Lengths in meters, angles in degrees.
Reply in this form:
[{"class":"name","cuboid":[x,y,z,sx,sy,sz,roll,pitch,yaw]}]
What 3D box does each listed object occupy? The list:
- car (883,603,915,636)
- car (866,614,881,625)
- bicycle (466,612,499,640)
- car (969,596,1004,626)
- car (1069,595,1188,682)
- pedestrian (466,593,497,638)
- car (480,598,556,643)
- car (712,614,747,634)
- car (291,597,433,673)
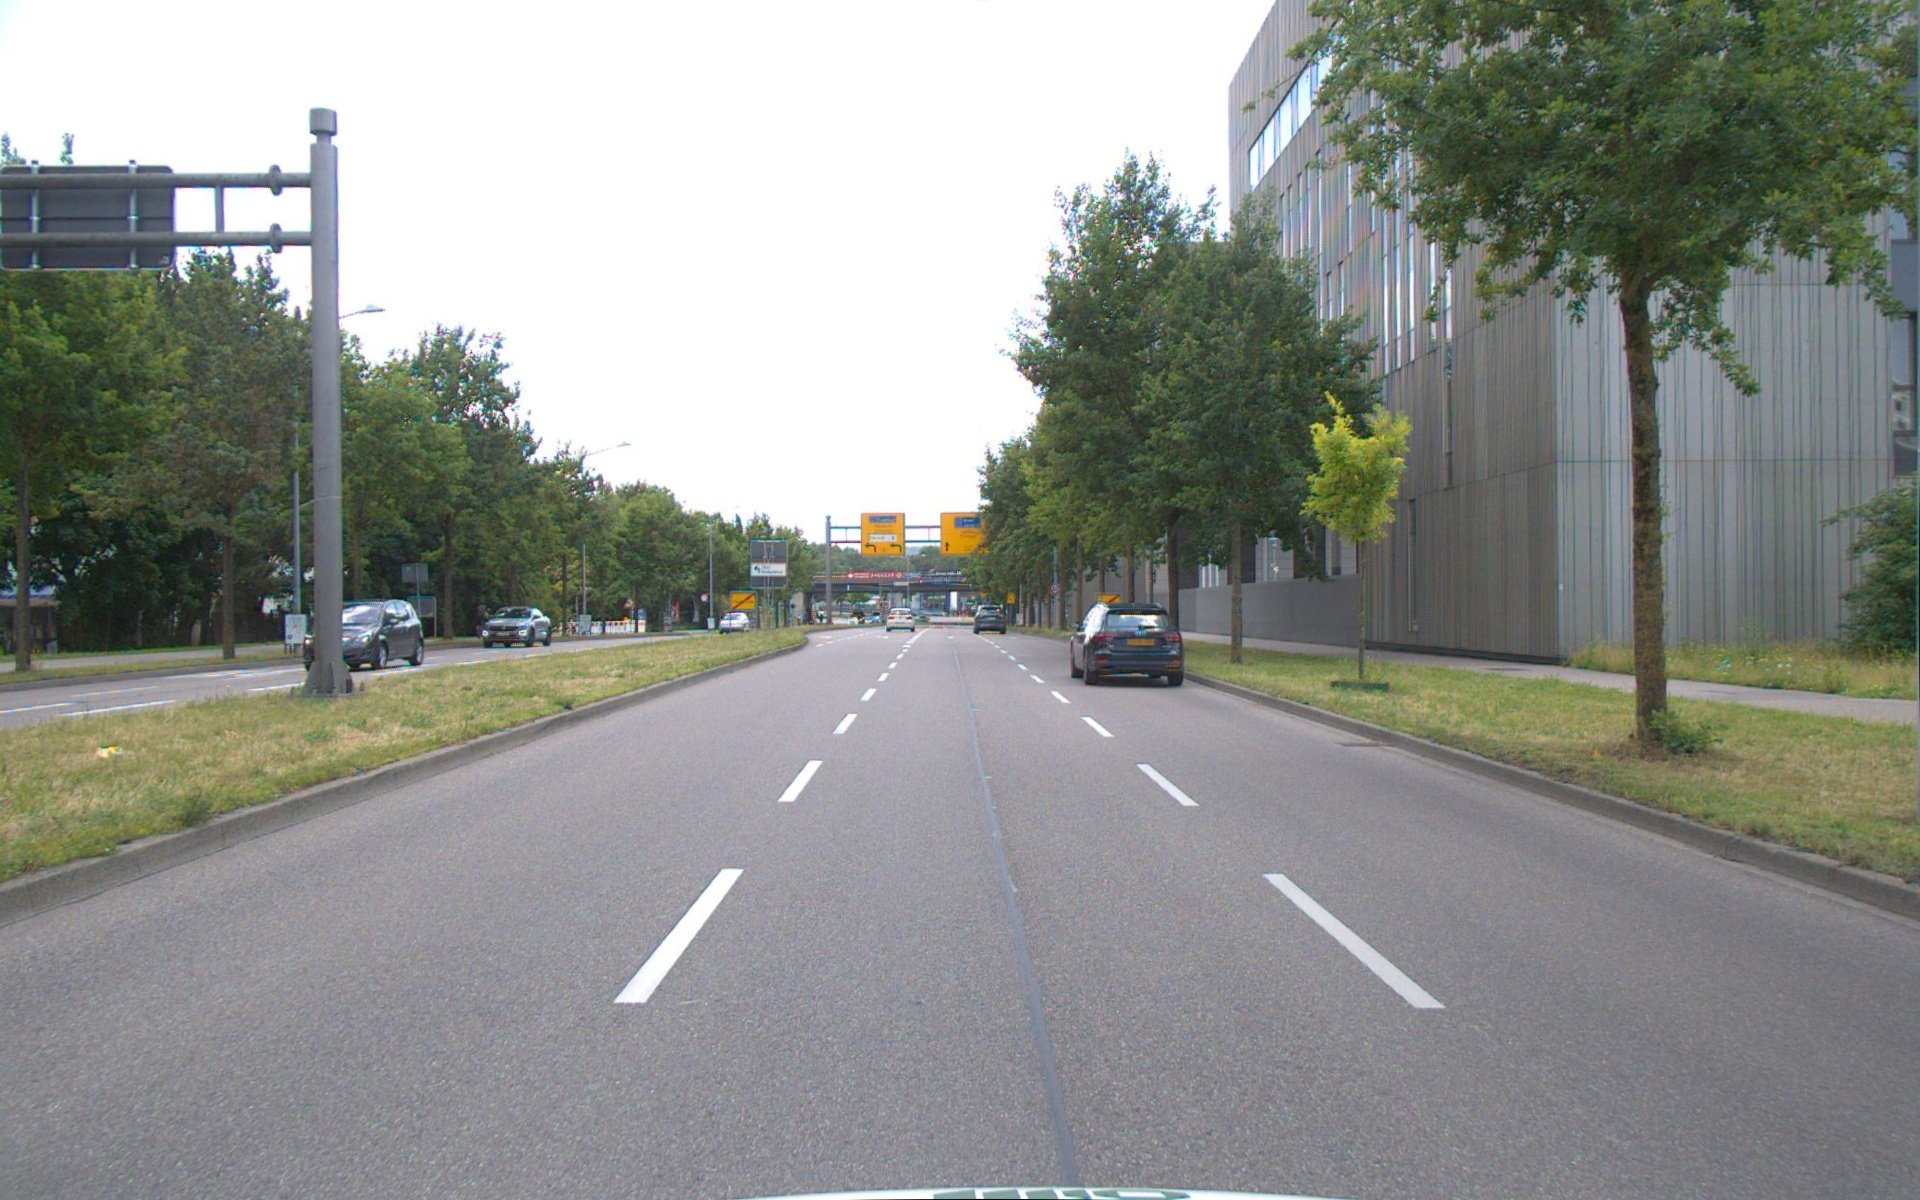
[{"class":"car","cuboid":[-3.854,1.213,103.996,1.954,2.049,3.997,1,-1,-3]},{"class":"car","cuboid":[-12.933,2.896,248.328,1.952,1.646,4.000,-1,-1,0]},{"class":"bicycle","cuboid":[-22.341,1.192,77.389,0.791,1.248,2.502,-1,0,0]},{"class":"car","cuboid":[1.579,0.611,96.602,1.952,1.654,4.310,-1,0,2]},{"class":"car","cuboid":[3.025,0.683,30.399,1.650,1.489,3.998,1,-1,-2]},{"class":"pedestrian","cuboid":[-22.362,0.717,77.323,0.950,2.049,1.249,3,0,0]},{"class":"car","cuboid":[-16.781,0.763,62.957,1.706,1.572,4.572,-2,0,-1]},{"class":"car","cuboid":[-15.962,1.649,114.581,1.606,1.352,4.383,-1,0,3]},{"class":"car","cuboid":[-13.776,0.776,38.362,1.706,1.596,4.275,-2,0,0]}]
